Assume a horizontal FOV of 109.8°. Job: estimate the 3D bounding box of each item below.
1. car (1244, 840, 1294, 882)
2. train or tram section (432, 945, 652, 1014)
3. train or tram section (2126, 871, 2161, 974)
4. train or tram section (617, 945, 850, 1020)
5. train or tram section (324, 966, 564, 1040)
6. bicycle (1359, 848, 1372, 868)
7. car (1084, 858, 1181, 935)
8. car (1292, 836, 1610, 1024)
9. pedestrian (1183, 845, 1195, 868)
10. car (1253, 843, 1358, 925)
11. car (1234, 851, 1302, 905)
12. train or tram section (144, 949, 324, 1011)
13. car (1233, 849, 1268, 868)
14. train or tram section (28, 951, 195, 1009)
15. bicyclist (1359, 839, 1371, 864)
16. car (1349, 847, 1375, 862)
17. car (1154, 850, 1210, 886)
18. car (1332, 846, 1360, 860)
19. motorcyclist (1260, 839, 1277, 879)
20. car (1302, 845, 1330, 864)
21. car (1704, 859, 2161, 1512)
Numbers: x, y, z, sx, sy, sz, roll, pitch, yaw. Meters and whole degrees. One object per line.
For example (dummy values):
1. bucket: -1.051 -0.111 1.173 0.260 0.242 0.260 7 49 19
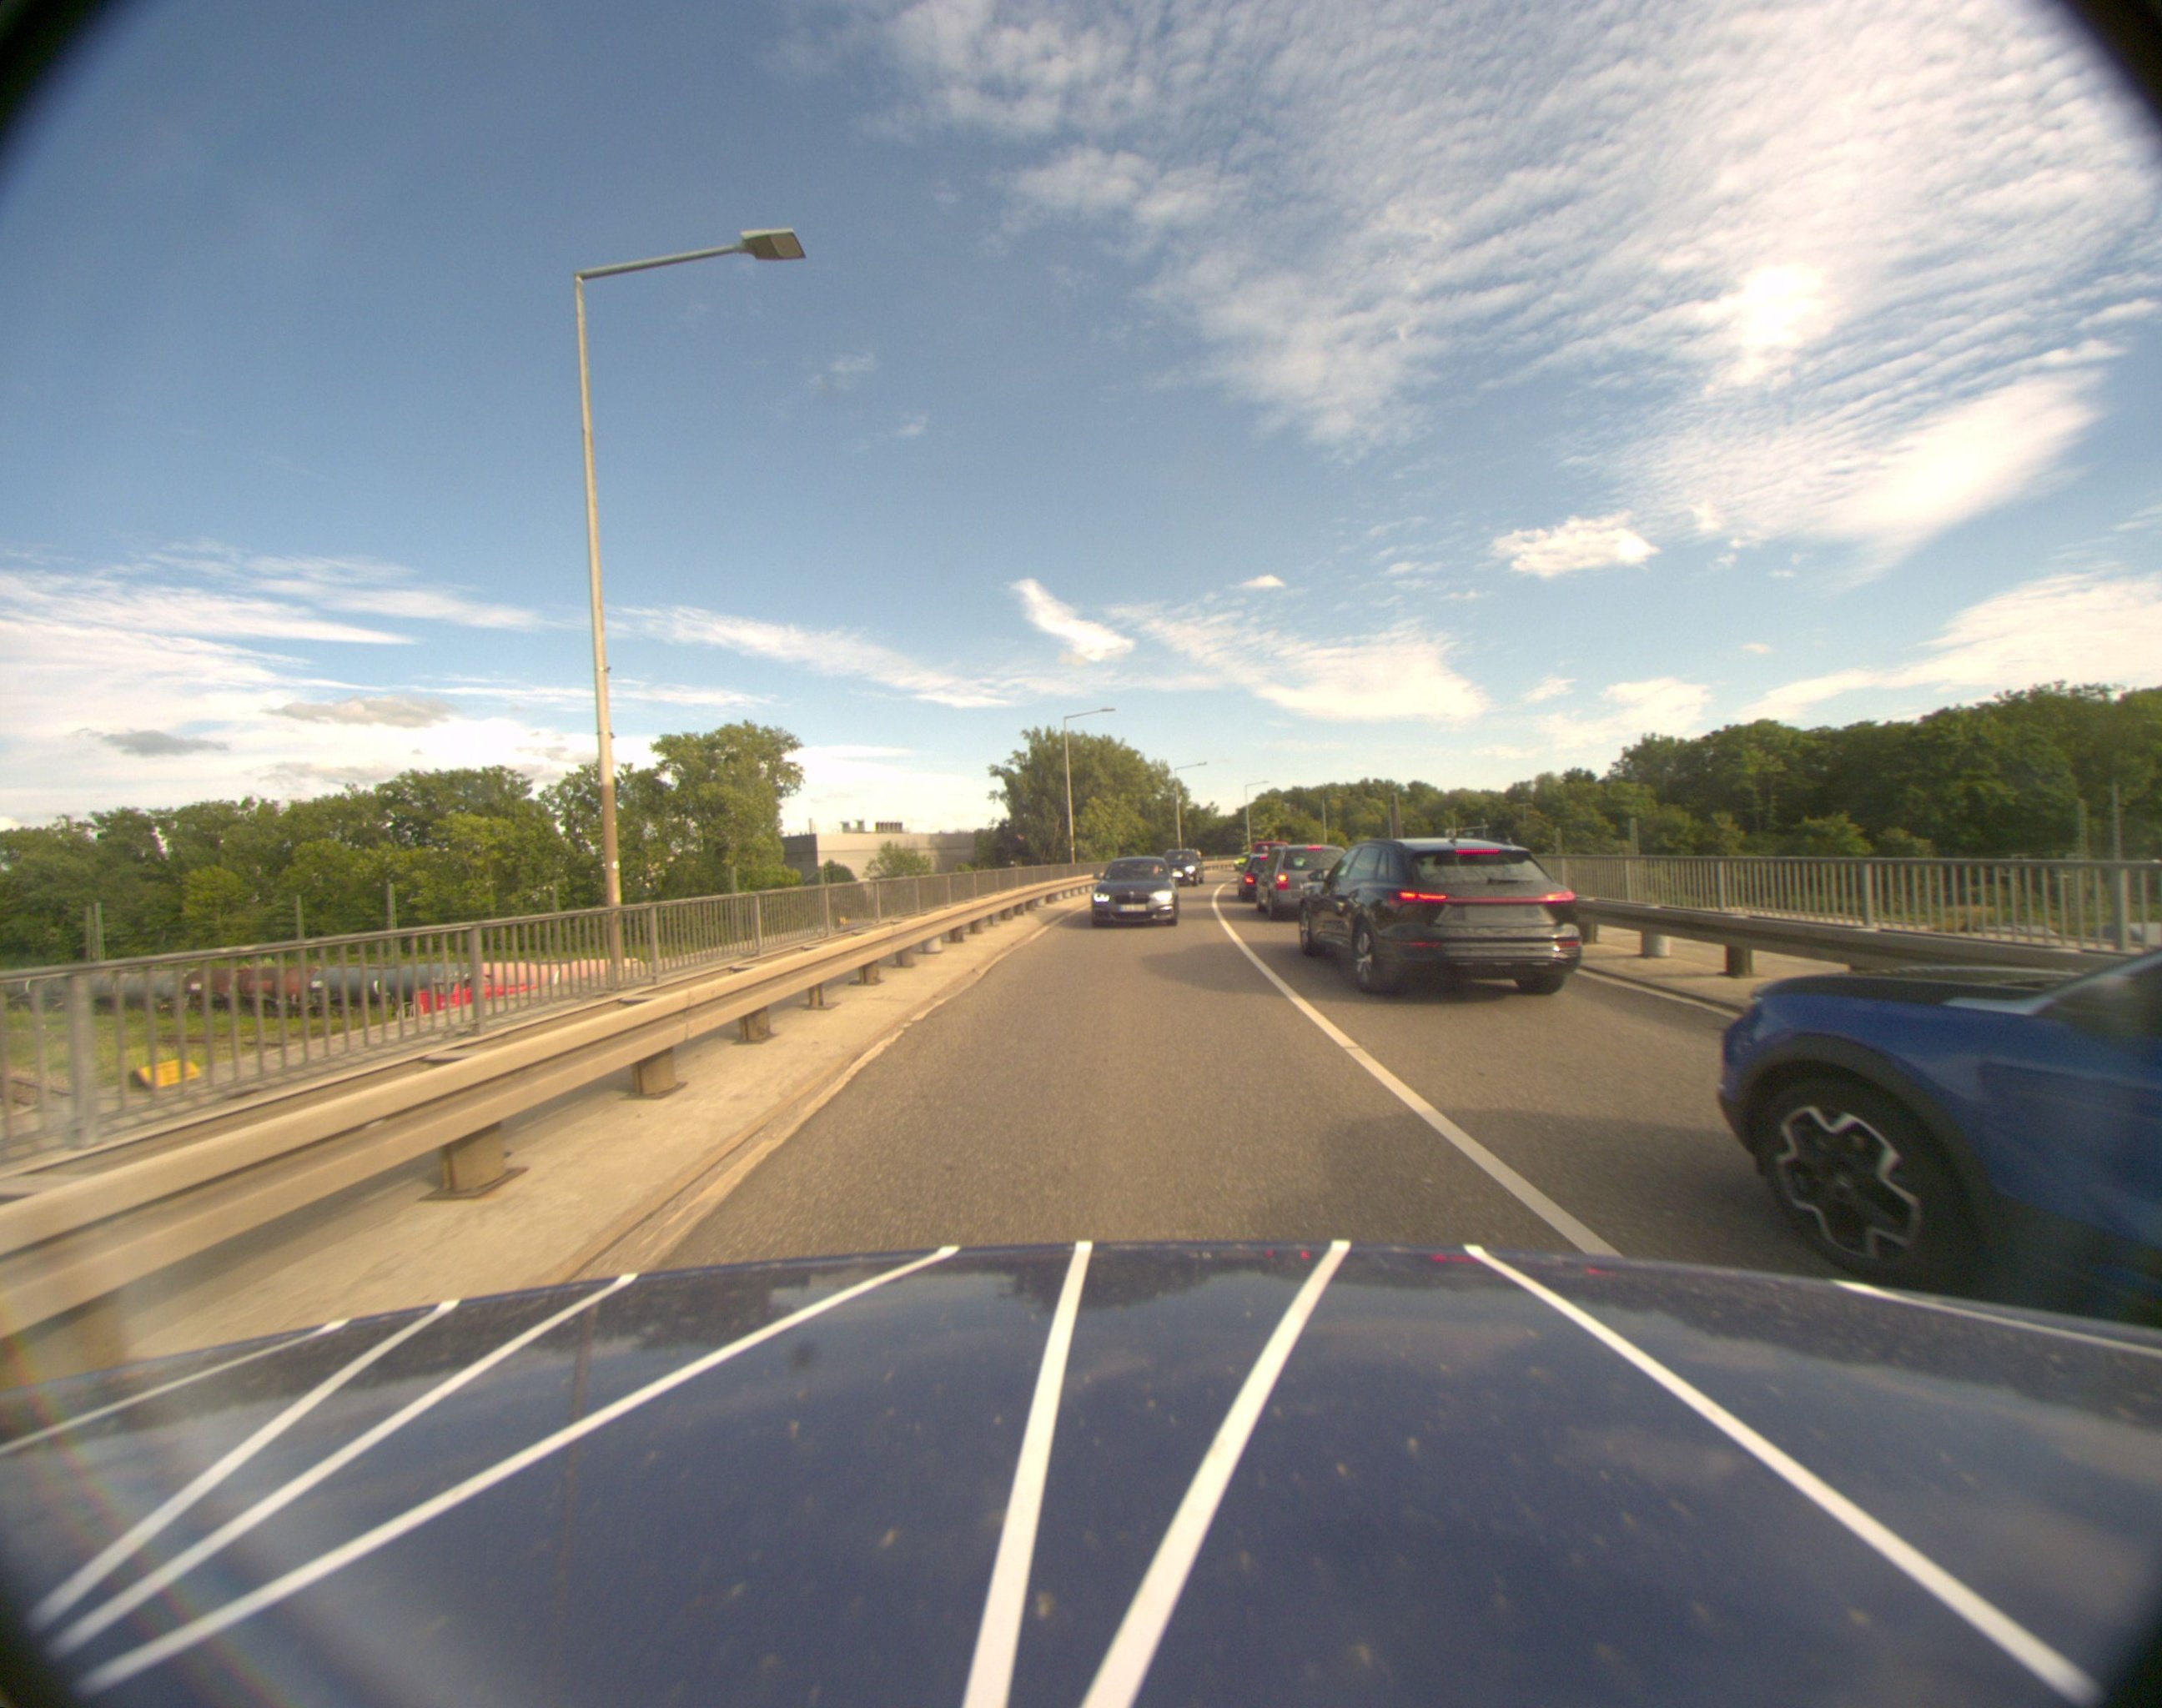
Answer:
1. car: 9.039 0.291 36.912 2.011 1.892 4.871 -1 1 10
2. train or tram section: -41.746 9.659 58.840 16.722 4.685 3.099 -2 1 12
3. train or tram section: 58.111 3.041 33.324 16.721 4.685 3.099 -1 1 12
4. train or tram section: -25.418 9.212 55.492 16.721 4.685 3.099 -1 1 12
5. train or tram section: -44.898 10.331 53.482 17.271 4.121 3.099 -1 1 13
6. bicycle: 19.211 0.264 51.371 0.765 1.324 1.918 -1 1 20
7. car: 1.239 0.831 16.554 1.785 1.396 3.973 -1 1 8
8. car: 3.893 0.655 9.007 1.929 1.639 4.590 -1 1 6
9. pedestrian: 7.893 0.208 55.552 0.677 1.652 0.866 -1 1 20
10. car: 4.972 0.578 17.349 1.685 1.639 4.300 -1 1 8
11. car: 5.723 0.674 23.650 1.836 1.457 4.521 -1 1 11
12. train or tram section: -74.330 10.996 66.598 16.718 4.685 3.100 -2 1 15
13. car: 13.221 0.353 59.101 1.815 1.396 4.398 0 1 24
14. train or tram section: -90.546 11.722 70.924 16.718 4.685 3.100 -2 1 15
15. bicyclist: 19.184 -0.196 51.314 0.767 1.651 1.121 -1 1 20
16. car: 29.049 0.066 78.383 1.761 1.481 4.453 0 1 31
17. car: 4.666 0.609 34.631 1.816 1.498 4.396 -1 1 17
18. car: 31.291 -0.139 89.629 1.815 1.498 4.400 0 1 37
19. motorcyclist: 7.448 0.187 30.236 0.621 1.544 0.938 0 1 15
20. car: 19.906 0.043 64.230 1.742 1.492 4.084 0 1 24
21. car: 3.454 0.804 1.129 1.803 1.511 4.007 -1 1 1
